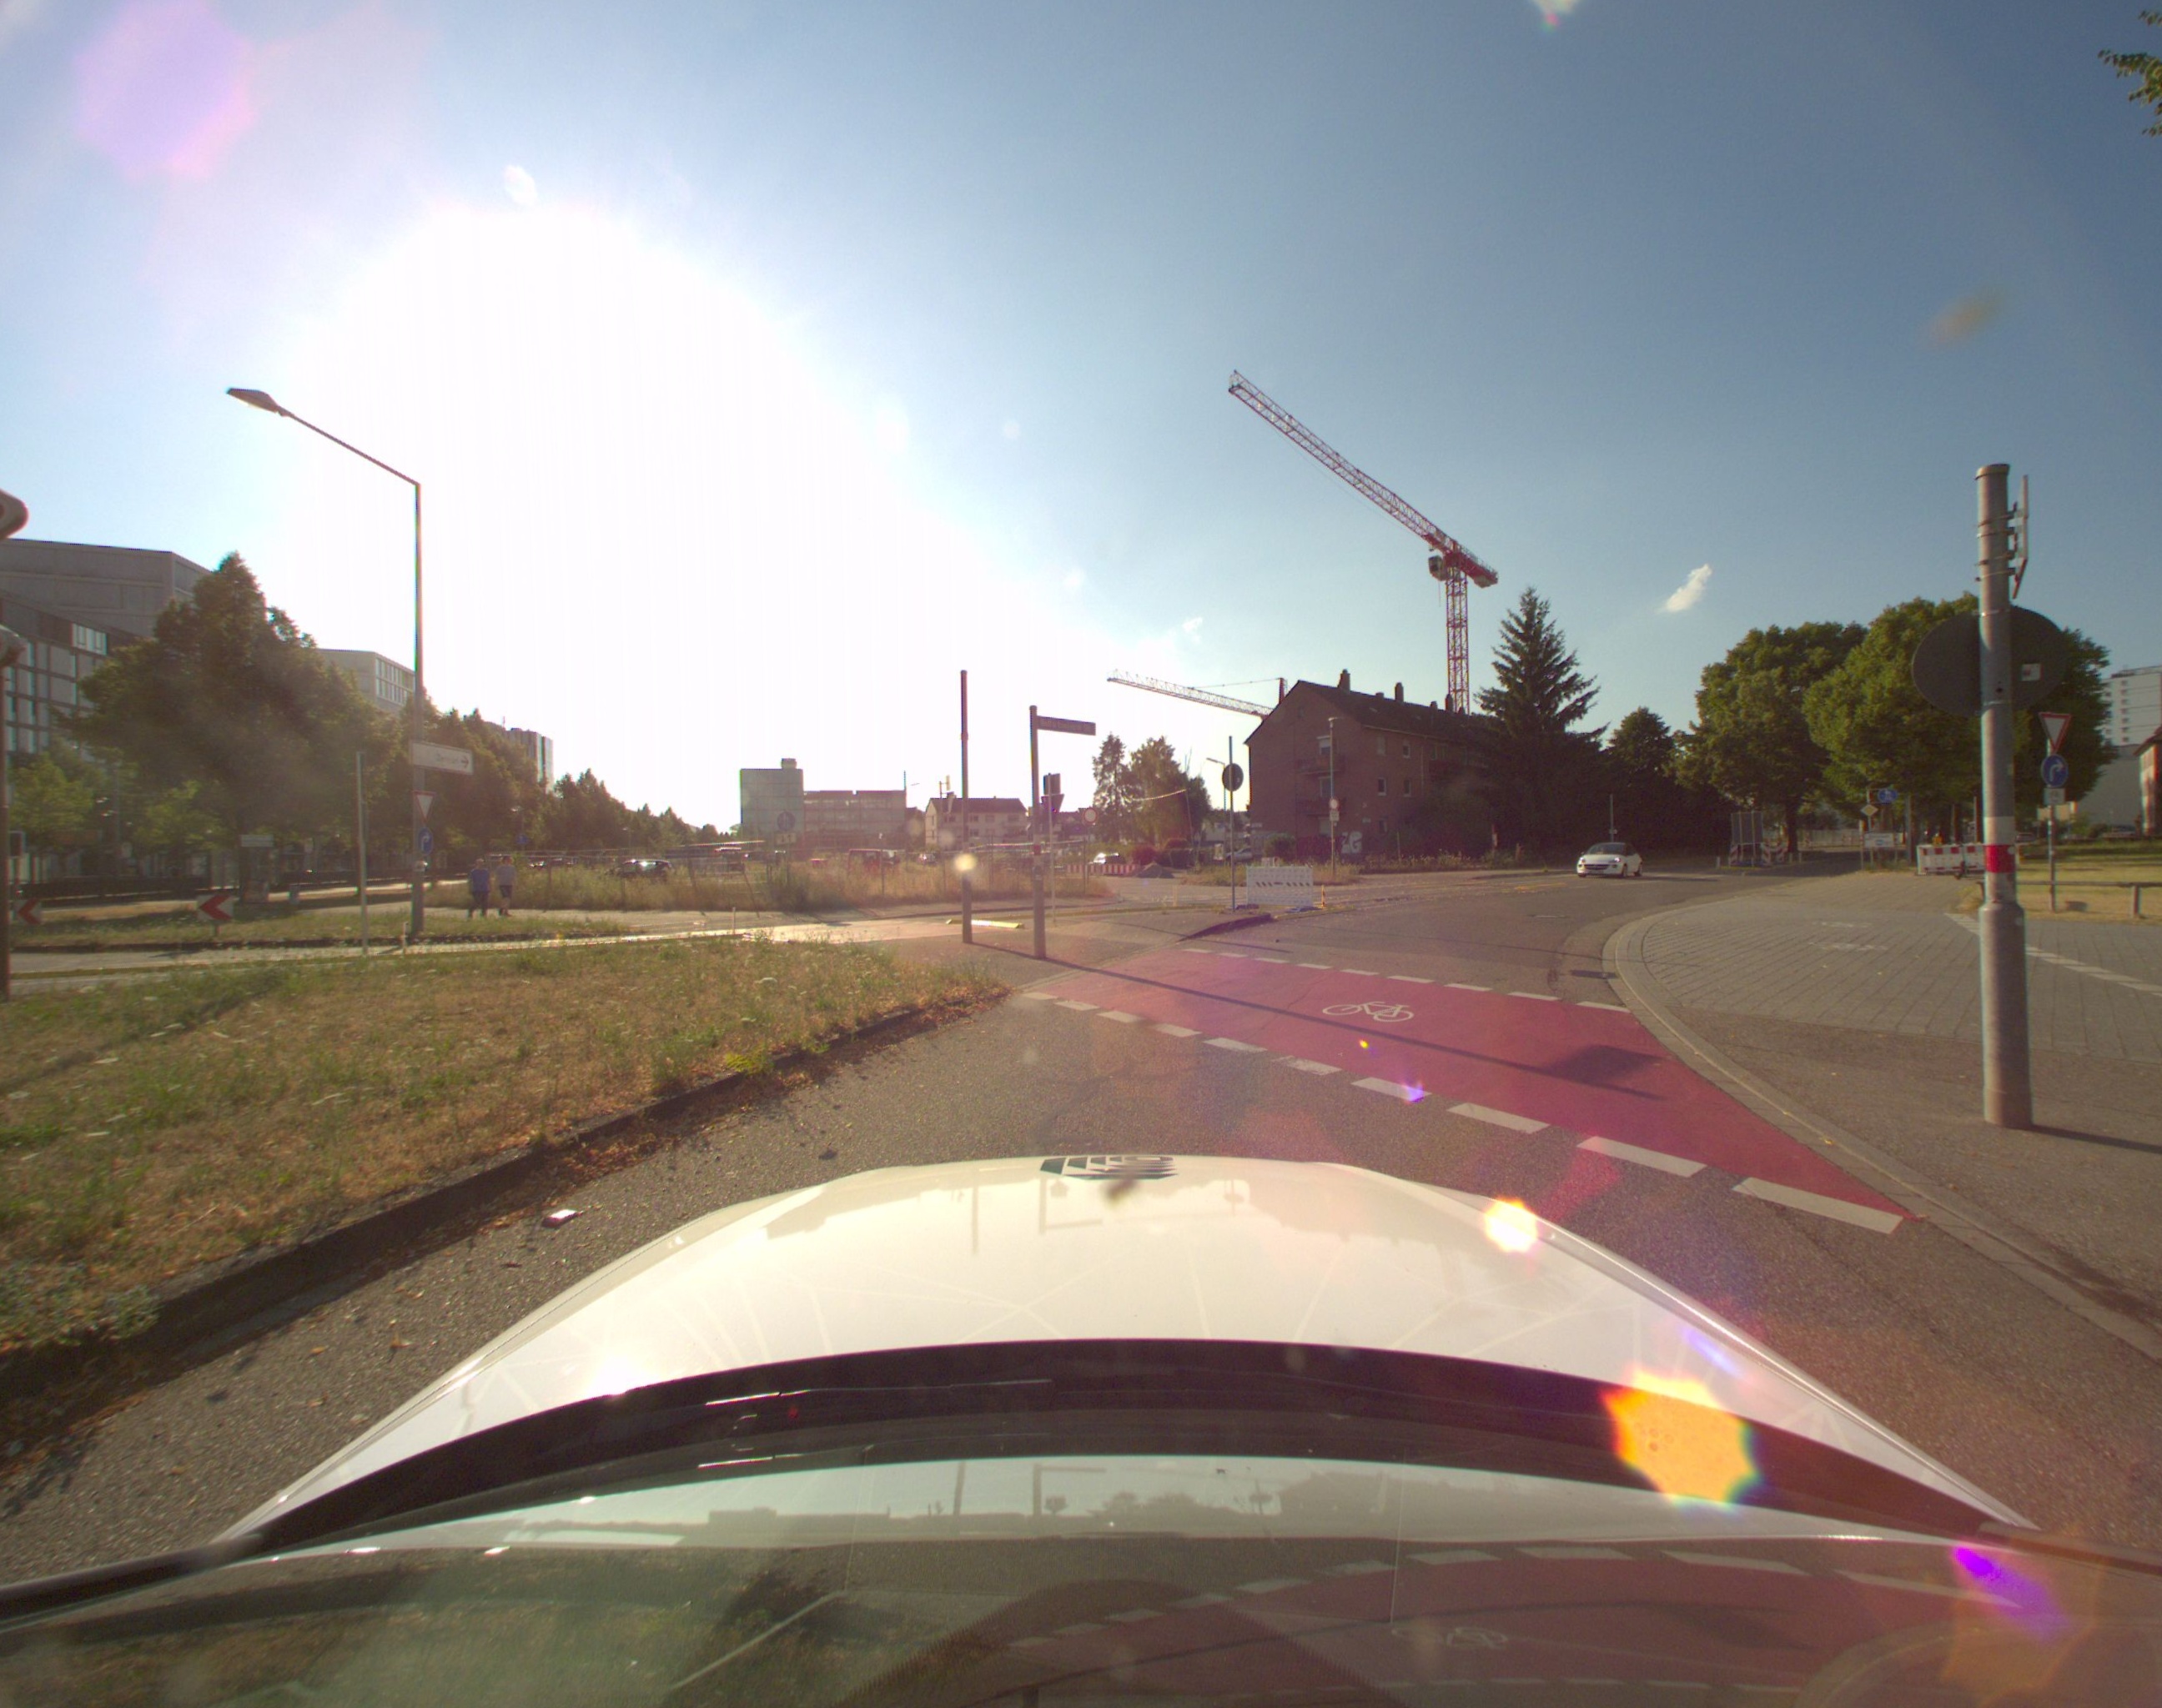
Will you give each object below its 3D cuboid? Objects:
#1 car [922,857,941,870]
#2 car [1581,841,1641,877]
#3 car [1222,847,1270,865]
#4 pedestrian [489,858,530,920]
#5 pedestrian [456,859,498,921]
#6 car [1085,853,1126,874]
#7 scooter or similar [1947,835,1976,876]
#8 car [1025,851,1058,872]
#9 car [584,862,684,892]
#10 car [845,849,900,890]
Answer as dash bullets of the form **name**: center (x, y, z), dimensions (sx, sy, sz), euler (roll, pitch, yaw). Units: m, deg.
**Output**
- **car**: center (-23.277, 1.462, 126.589), dimensions (2.155, 1.838, 4.329), euler (-1, 0, -22)
- **car**: center (22.380, 0.160, 34.341), dimensions (1.742, 1.421, 3.648), euler (1, 1, 39)
- **car**: center (14.997, 0.152, 73.937), dimensions (3.955, 1.530, 2.009), euler (-1, 0, 18)
- **pedestrian**: center (-16.652, 1.005, 23.727), dimensions (0.762, 1.775, 0.765), euler (-1, 0, 40)
- **pedestrian**: center (-17.154, 1.005, 23.121), dimensions (0.802, 1.709, 0.791), euler (-1, 0, 42)
- **car**: center (1.911, 0.744, 64.786), dimensions (2.000, 1.552, 3.973), euler (-1, 0, -20)
- **scooter or similar**: center (28.611, 0.053, 26.464), dimensions (1.470, 1.292, 0.554), euler (-1, 0, -40)
- **car**: center (-3.893, 0.722, 79.823), dimensions (1.871, 1.947, 3.968), euler (-1, 0, -24)
- **car**: center (-22.280, 1.119, 40.657), dimensions (4.257, 1.363, 1.981), euler (-1, 0, -30)
- **car**: center (-11.004, 0.793, 43.368), dimensions (1.990, 2.013, 5.303), euler (-1, 0, -5)
